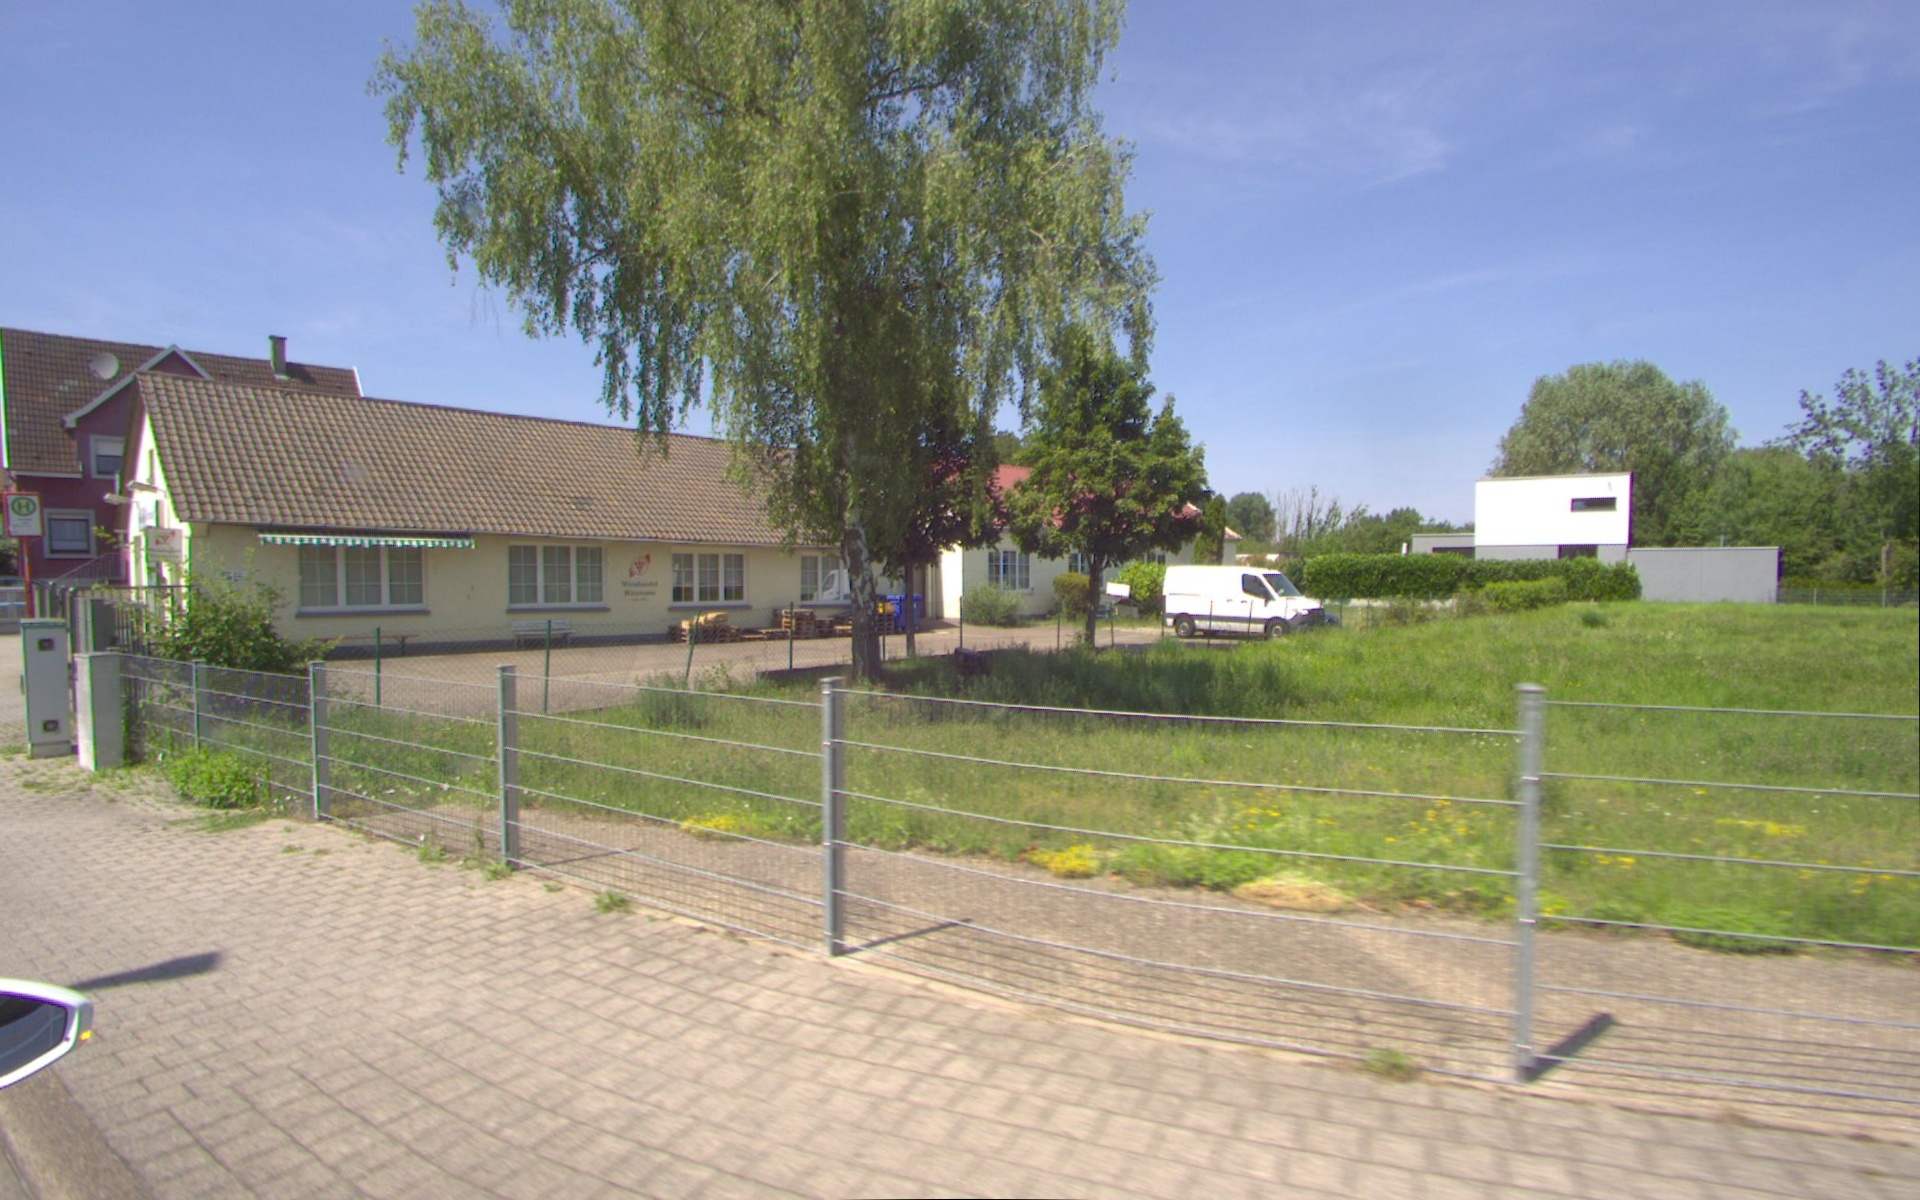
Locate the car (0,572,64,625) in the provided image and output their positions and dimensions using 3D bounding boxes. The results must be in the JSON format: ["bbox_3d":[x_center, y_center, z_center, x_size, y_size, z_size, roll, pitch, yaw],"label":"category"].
[{"bbox_3d":[-29.904,-0.041,31.306,1.159,1.619,2.726,0,1,45],"label":"car"}]

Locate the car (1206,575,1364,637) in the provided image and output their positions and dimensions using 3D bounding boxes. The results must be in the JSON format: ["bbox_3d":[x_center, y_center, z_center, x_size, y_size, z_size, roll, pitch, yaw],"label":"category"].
[{"bbox_3d":[11.367,0.208,35.239,4.878,2.041,2.051,-1,1,42],"label":"car"}]

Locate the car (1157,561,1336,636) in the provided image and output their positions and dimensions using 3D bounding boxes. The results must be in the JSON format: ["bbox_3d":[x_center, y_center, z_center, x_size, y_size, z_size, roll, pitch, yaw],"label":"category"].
[{"bbox_3d":[9.210,-0.035,32.433,5.125,2.231,2.197,-1,1,41],"label":"car"}]
